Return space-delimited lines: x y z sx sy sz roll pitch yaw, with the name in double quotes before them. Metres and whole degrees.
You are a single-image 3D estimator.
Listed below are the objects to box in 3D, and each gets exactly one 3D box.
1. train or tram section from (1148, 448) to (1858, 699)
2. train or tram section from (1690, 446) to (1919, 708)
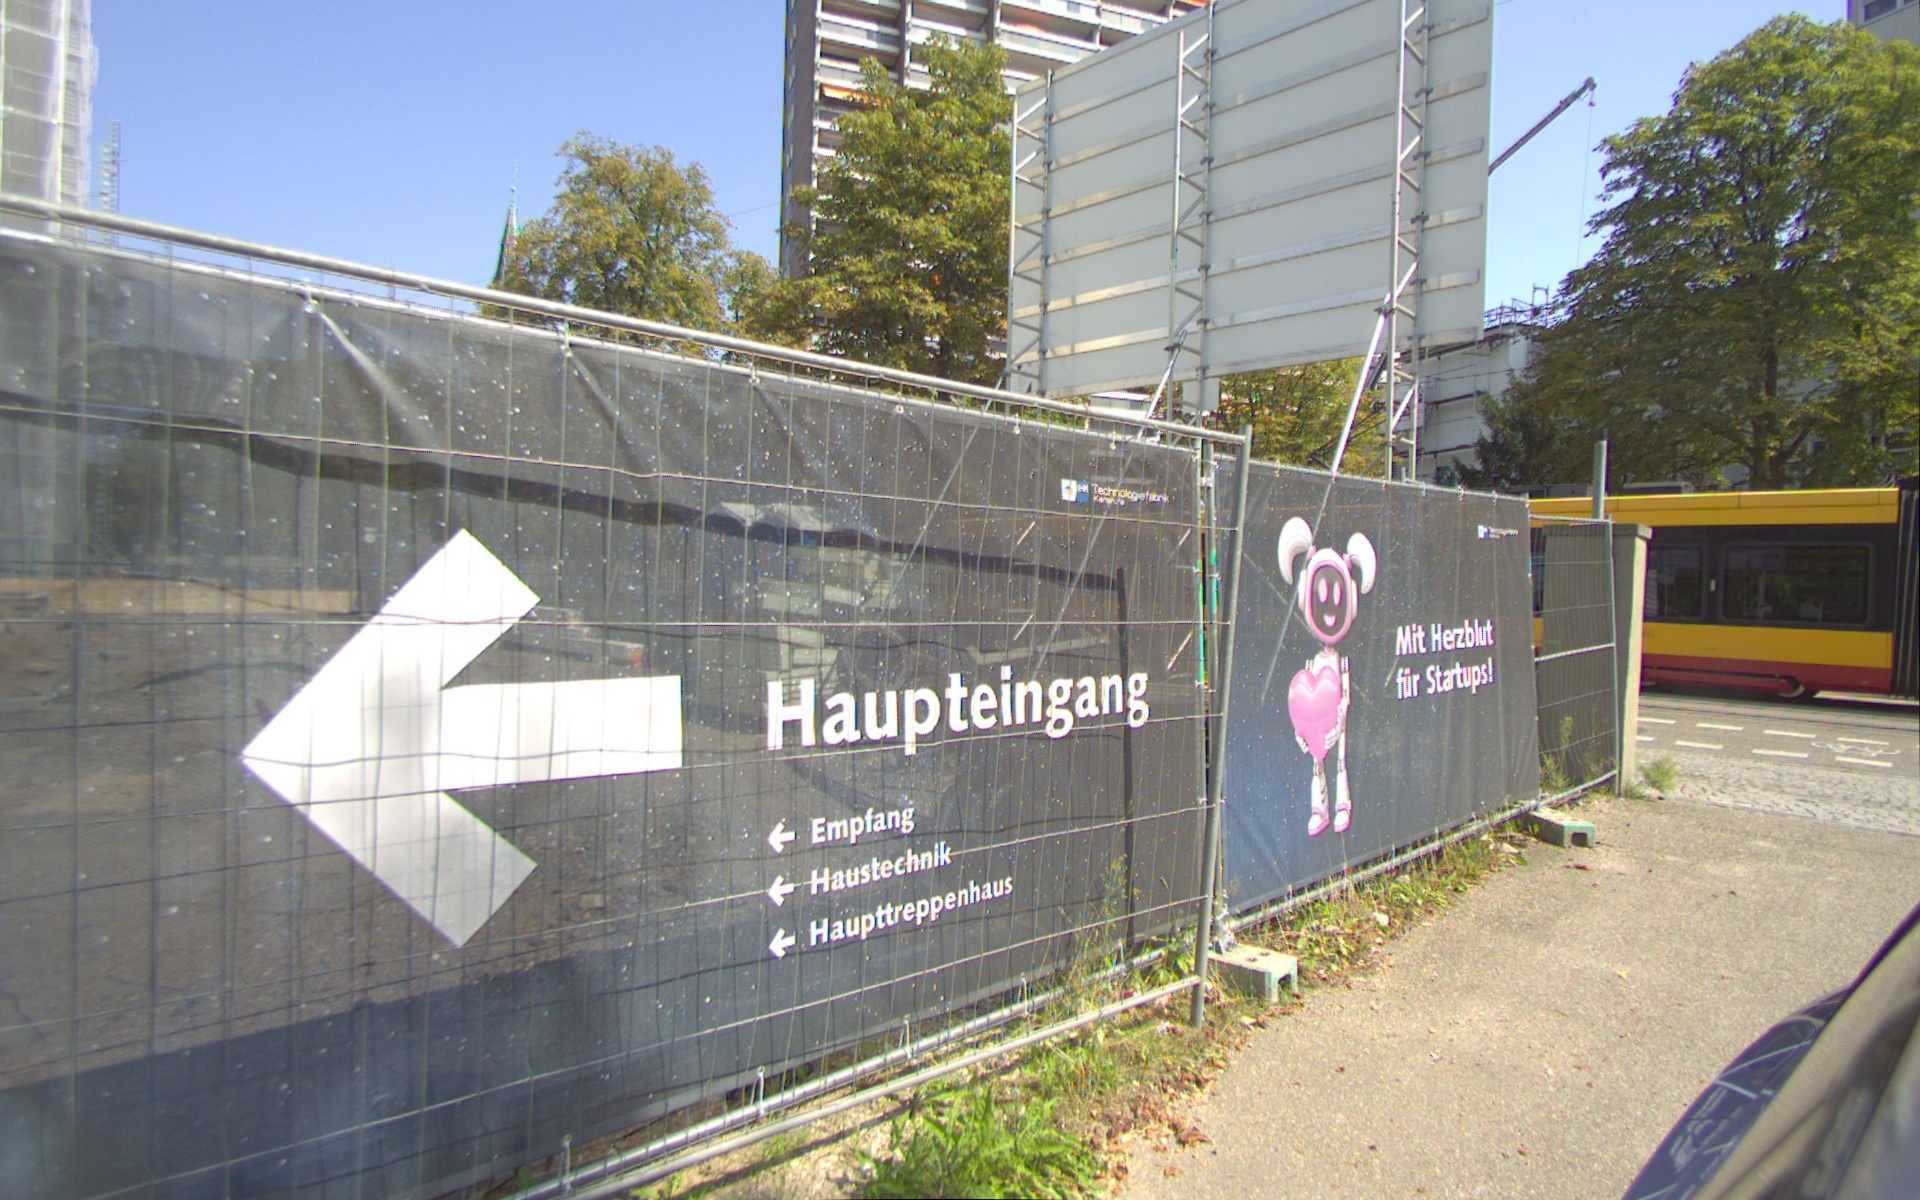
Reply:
"train or tram section" 10.017 -0.566 20.784 3.451 3.750 12.381 0 1 -44
"train or tram section" 17.383 -0.237 13.165 3.451 3.750 12.381 0 1 -44
